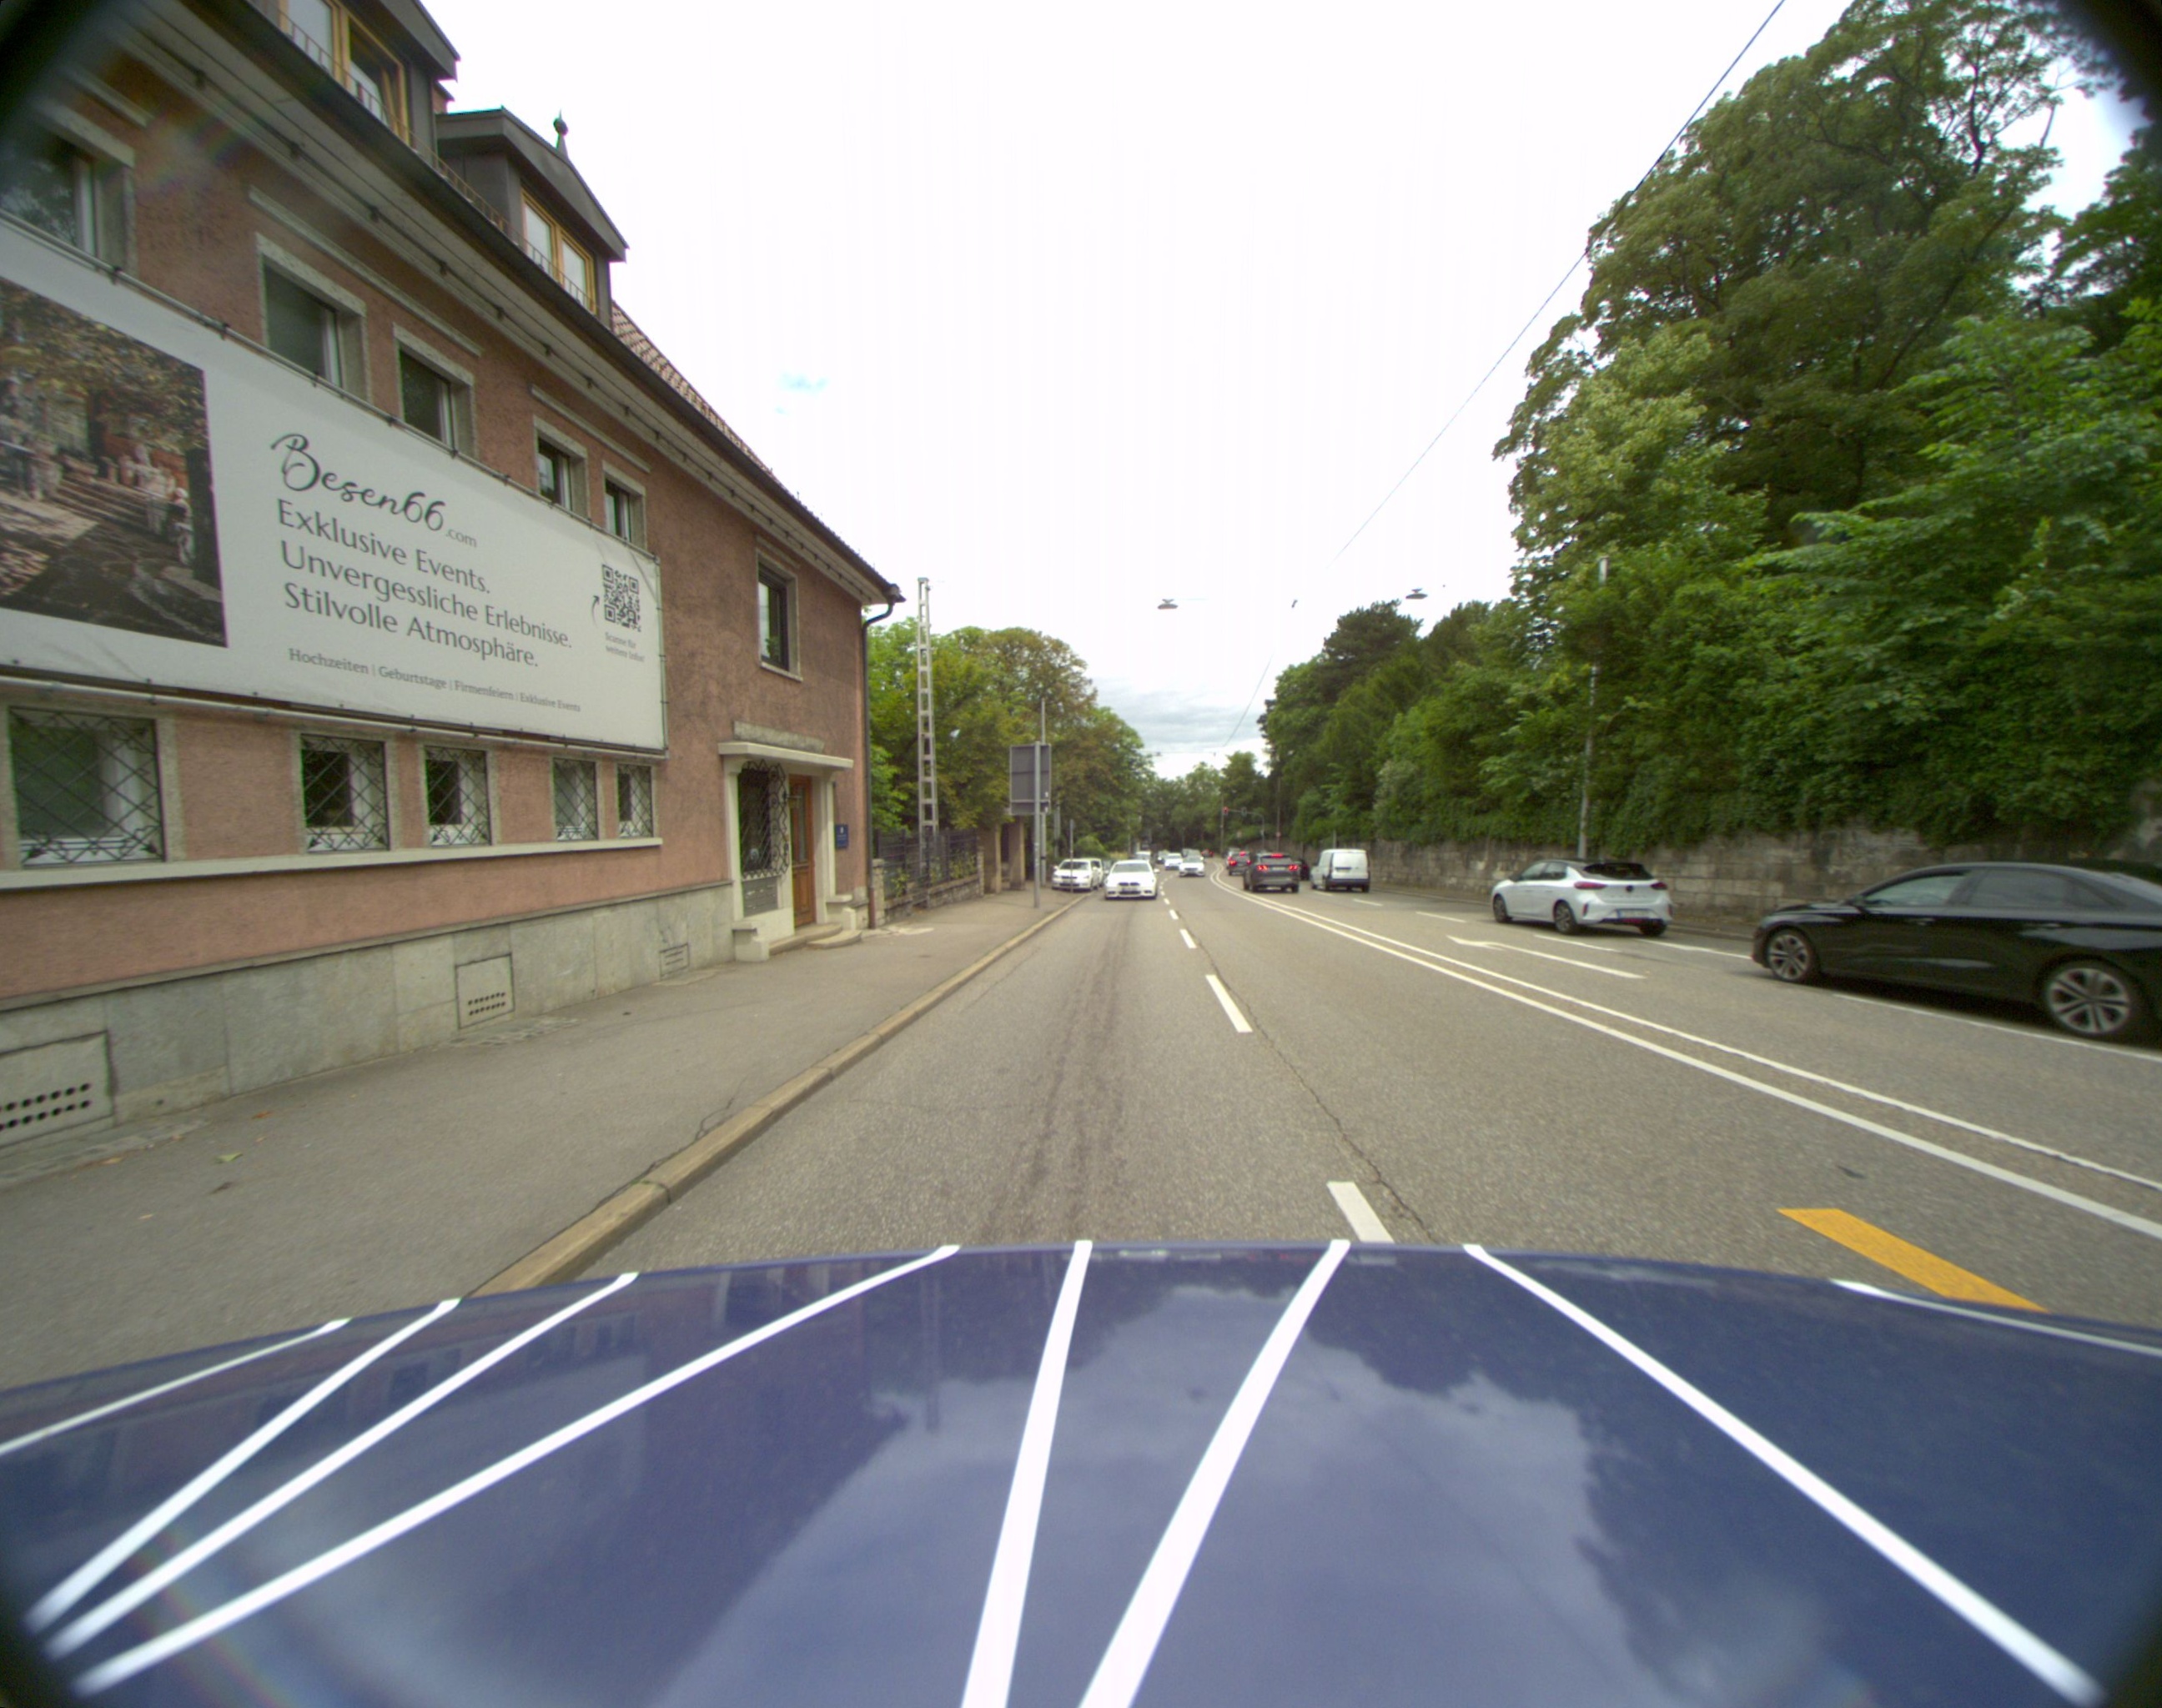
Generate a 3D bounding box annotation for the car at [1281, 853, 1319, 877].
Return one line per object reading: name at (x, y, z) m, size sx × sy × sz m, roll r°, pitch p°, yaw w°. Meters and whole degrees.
car at (13.894, 0.663, 48.399) m, size 1.565 × 1.394 × 4.255 m, roll 1°, pitch 1°, yaw 5°

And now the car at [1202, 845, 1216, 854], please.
car at (19.974, -0.682, 118.528) m, size 1.997 × 1.433 × 4.003 m, roll -1°, pitch 0°, yaw 10°

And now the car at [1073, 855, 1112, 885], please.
car at (0.675, 0.808, 40.945) m, size 1.718 × 1.463 × 4.040 m, roll 2°, pitch 0°, yaw 6°

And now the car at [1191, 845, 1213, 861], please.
car at (13.532, -0.099, 85.221) m, size 1.958 × 1.730 × 4.000 m, roll -1°, pitch 0°, yaw 2°

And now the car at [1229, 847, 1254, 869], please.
car at (13.624, 0.315, 64.784) m, size 1.963 × 1.740 × 4.881 m, roll 1°, pitch 1°, yaw 11°

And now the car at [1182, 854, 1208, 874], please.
car at (8.240, 0.695, 55.010) m, size 1.801 × 1.382 × 3.530 m, roll 0°, pitch 0°, yaw 8°

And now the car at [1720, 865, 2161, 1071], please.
car at (8.615, 0.853, 7.053) m, size 1.687 × 1.410 × 4.428 m, roll 1°, pitch 0°, yaw 1°

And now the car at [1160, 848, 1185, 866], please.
car at (8.962, 0.281, 74.648) m, size 1.958 × 1.761 × 3.999 m, roll -1°, pitch 0°, yaw -1°

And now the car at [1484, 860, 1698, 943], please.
car at (9.816, 0.830, 15.058) m, size 1.719 × 1.395 × 4.024 m, roll 0°, pitch 0°, yaw 3°

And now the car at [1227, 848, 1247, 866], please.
car at (14.789, 0.249, 72.211) m, size 1.840 × 1.545 × 4.792 m, roll -1°, pitch 1°, yaw 11°

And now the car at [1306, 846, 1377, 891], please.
car at (11.300, 0.565, 33.275) m, size 1.897 × 1.837 × 4.398 m, roll 0°, pitch 1°, yaw 5°

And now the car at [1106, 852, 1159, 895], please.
car at (1.961, 0.751, 28.703) m, size 1.822 × 1.462 × 4.787 m, roll 1°, pitch -2°, yaw 4°

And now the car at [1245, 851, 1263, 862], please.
car at (22.363, 0.271, 98.309) m, size 2.006 × 1.401 × 4.759 m, roll -1°, pitch 0°, yaw 10°

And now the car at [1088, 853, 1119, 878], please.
car at (1.470, 0.714, 48.488) m, size 1.564 × 1.414 × 3.426 m, roll 3°, pitch 1°, yaw 8°

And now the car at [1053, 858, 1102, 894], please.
car at (-0.102, 0.941, 34.665) m, size 1.678 × 1.453 × 4.367 m, roll 1°, pitch 1°, yaw 7°

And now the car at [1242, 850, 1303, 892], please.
car at (8.034, 0.670, 32.180) m, size 1.853 × 1.623 × 4.363 m, roll -1°, pitch 0°, yaw 6°

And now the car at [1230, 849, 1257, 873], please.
car at (12.182, 0.517, 57.119) m, size 1.851 × 1.642 × 4.627 m, roll 1°, pitch 1°, yaw 10°
